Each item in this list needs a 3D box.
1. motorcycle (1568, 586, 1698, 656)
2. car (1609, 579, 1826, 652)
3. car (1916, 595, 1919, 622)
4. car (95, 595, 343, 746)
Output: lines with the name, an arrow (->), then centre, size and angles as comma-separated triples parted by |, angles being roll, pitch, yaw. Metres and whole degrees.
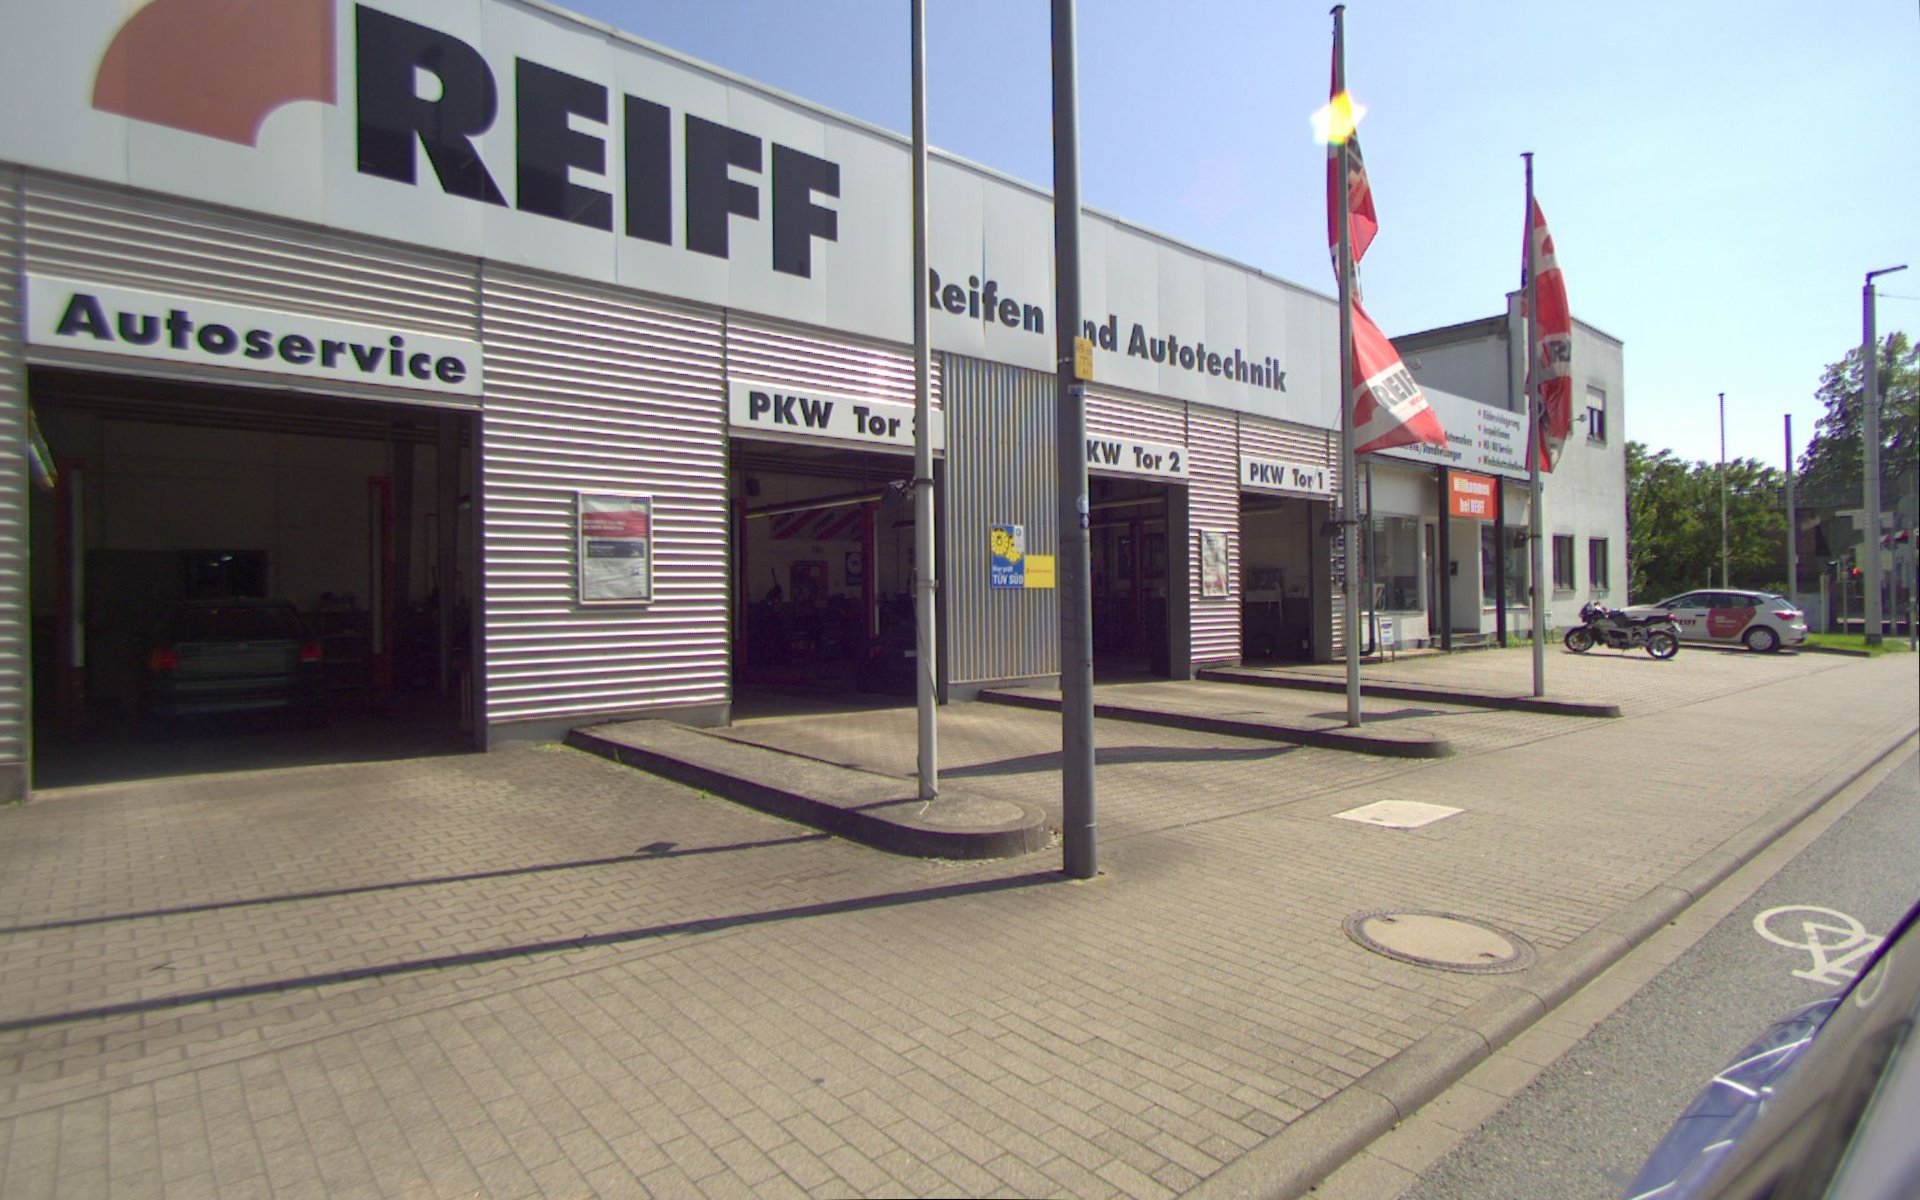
motorcycle -> 14.404, 0.417, 21.722 | 0.718, 1.324, 2.187 | -1, 3, -41
car -> 18.718, 0.314, 25.138 | 1.858, 1.480, 3.994 | 0, 4, -42
car -> 57.641, 0.461, 58.779 | 1.804, 1.624, 4.266 | -2, -2, 27
car -> -8.320, 0.651, 11.246 | 1.697, 1.393, 3.763 | 0, 0, -45
